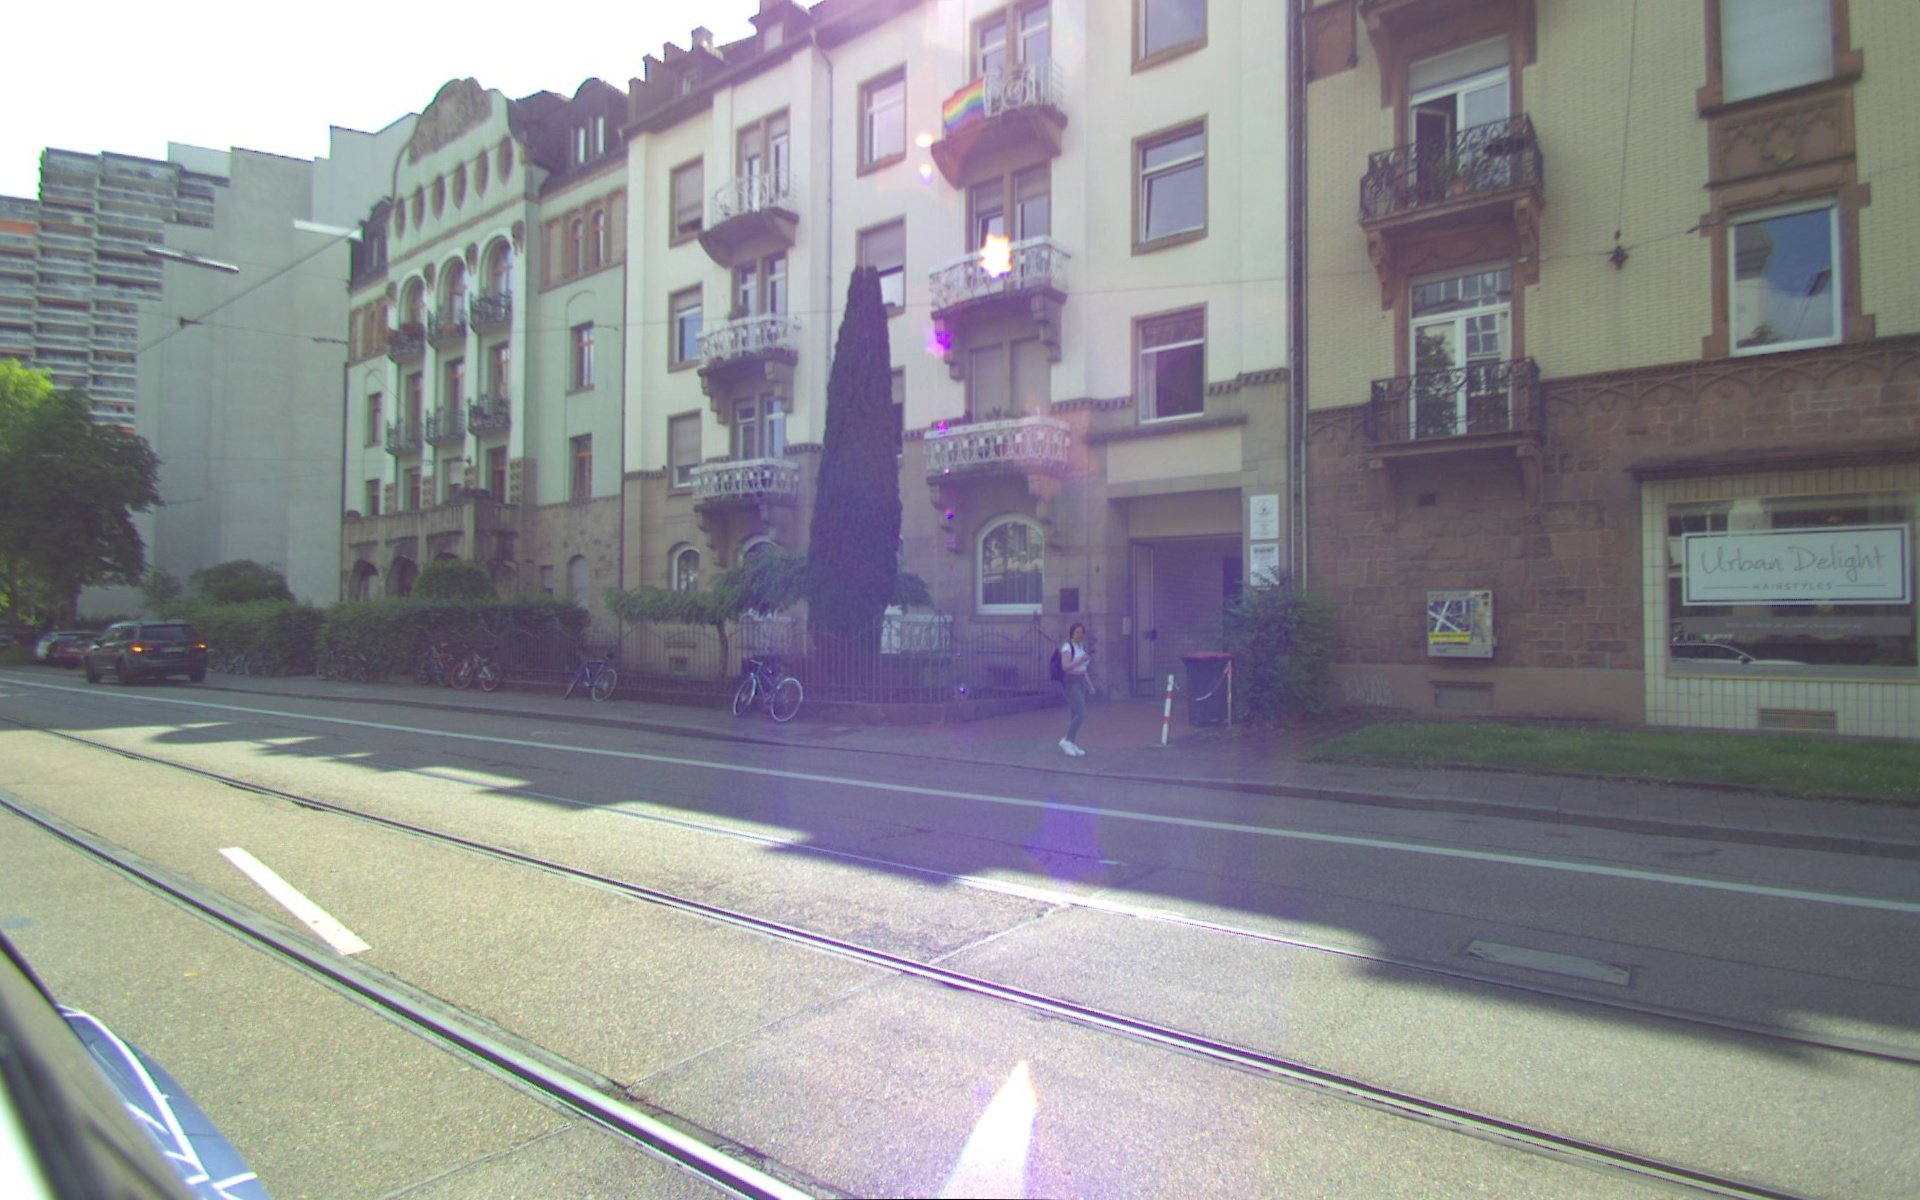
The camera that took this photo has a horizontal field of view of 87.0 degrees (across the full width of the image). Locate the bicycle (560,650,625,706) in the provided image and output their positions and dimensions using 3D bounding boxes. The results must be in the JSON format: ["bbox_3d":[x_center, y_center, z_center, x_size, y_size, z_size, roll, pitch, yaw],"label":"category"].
[{"bbox_3d":[-7.139,1.488,19.609,0.461,1.003,1.788,2,-3,-45],"label":"bicycle"}]

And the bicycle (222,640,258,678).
[{"bbox_3d":[-22.511,1.825,31.634,1.785,1.144,0.462,-2,-3,40],"label":"bicycle"}]

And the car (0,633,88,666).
[{"bbox_3d":[-43.991,2.322,47.982,3.938,1.519,2.002,2,-3,-42],"label":"car"}]

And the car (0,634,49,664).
[{"bbox_3d":[-49.131,2.489,51.606,3.938,1.519,2.002,2,-3,-42],"label":"car"}]

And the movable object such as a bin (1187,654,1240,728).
[{"bbox_3d":[3.646,1.298,14.565,0.697,1.037,0.475,0,-2,11],"label":"movable object such as a bin"}]

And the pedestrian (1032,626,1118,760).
[{"bbox_3d":[1.400,1.095,12.314,0.764,1.553,0.749,-2,-3,39],"label":"pedestrian"}]

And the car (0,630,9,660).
[{"bbox_3d":[-56.916,2.572,57.633,3.938,1.695,2.002,2,-3,-42],"label":"car"}]

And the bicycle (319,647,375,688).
[{"bbox_3d":[-15.618,1.702,25.776,1.979,1.003,0.597,-2,-3,40],"label":"bicycle"}]

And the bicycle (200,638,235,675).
[{"bbox_3d":[-24.167,1.822,32.923,1.785,1.144,0.462,-2,-3,40],"label":"bicycle"}]

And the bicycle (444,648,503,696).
[{"bbox_3d":[-10.727,1.563,22.304,1.785,1.003,0.462,-2,-3,40],"label":"bicycle"}]

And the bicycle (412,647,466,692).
[{"bbox_3d":[-12.144,1.599,23.566,1.785,1.003,0.462,-2,-3,40],"label":"bicycle"}]

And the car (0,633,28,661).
[{"bbox_3d":[-54.015,2.593,55.688,3.938,1.519,2.002,2,-3,-42],"label":"car"}]

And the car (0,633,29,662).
[{"bbox_3d":[-51.824,2.518,53.386,3.938,1.519,2.002,2,-3,-42],"label":"car"}]

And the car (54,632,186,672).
[{"bbox_3d":[-33.385,2.046,40.256,3.938,1.519,2.002,2,-3,-42],"label":"car"}]

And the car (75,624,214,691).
[{"bbox_3d":[-22.720,1.547,28.155,4.392,1.708,1.899,-1,-2,36],"label":"car"}]

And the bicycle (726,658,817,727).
[{"bbox_3d":[-3.065,1.455,16.310,0.461,1.003,1.980,2,-3,-43],"label":"bicycle"}]

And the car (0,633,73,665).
[{"bbox_3d":[-46.448,2.399,49.958,3.938,1.519,2.002,2,-3,-42],"label":"car"}]

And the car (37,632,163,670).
[{"bbox_3d":[-36.070,2.129,42.509,3.938,1.519,2.002,2,-3,-42],"label":"car"}]

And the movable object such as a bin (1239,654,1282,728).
[{"bbox_3d":[4.307,1.293,14.522,0.531,1.037,0.475,0,-2,11],"label":"movable object such as a bin"}]

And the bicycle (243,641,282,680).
[{"bbox_3d":[-20.985,1.807,30.434,1.785,1.144,0.462,-2,-3,40],"label":"bicycle"}]

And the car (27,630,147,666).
[{"bbox_3d":[-38.677,2.125,44.920,3.938,1.519,2.002,2,-3,-42],"label":"car"}]
